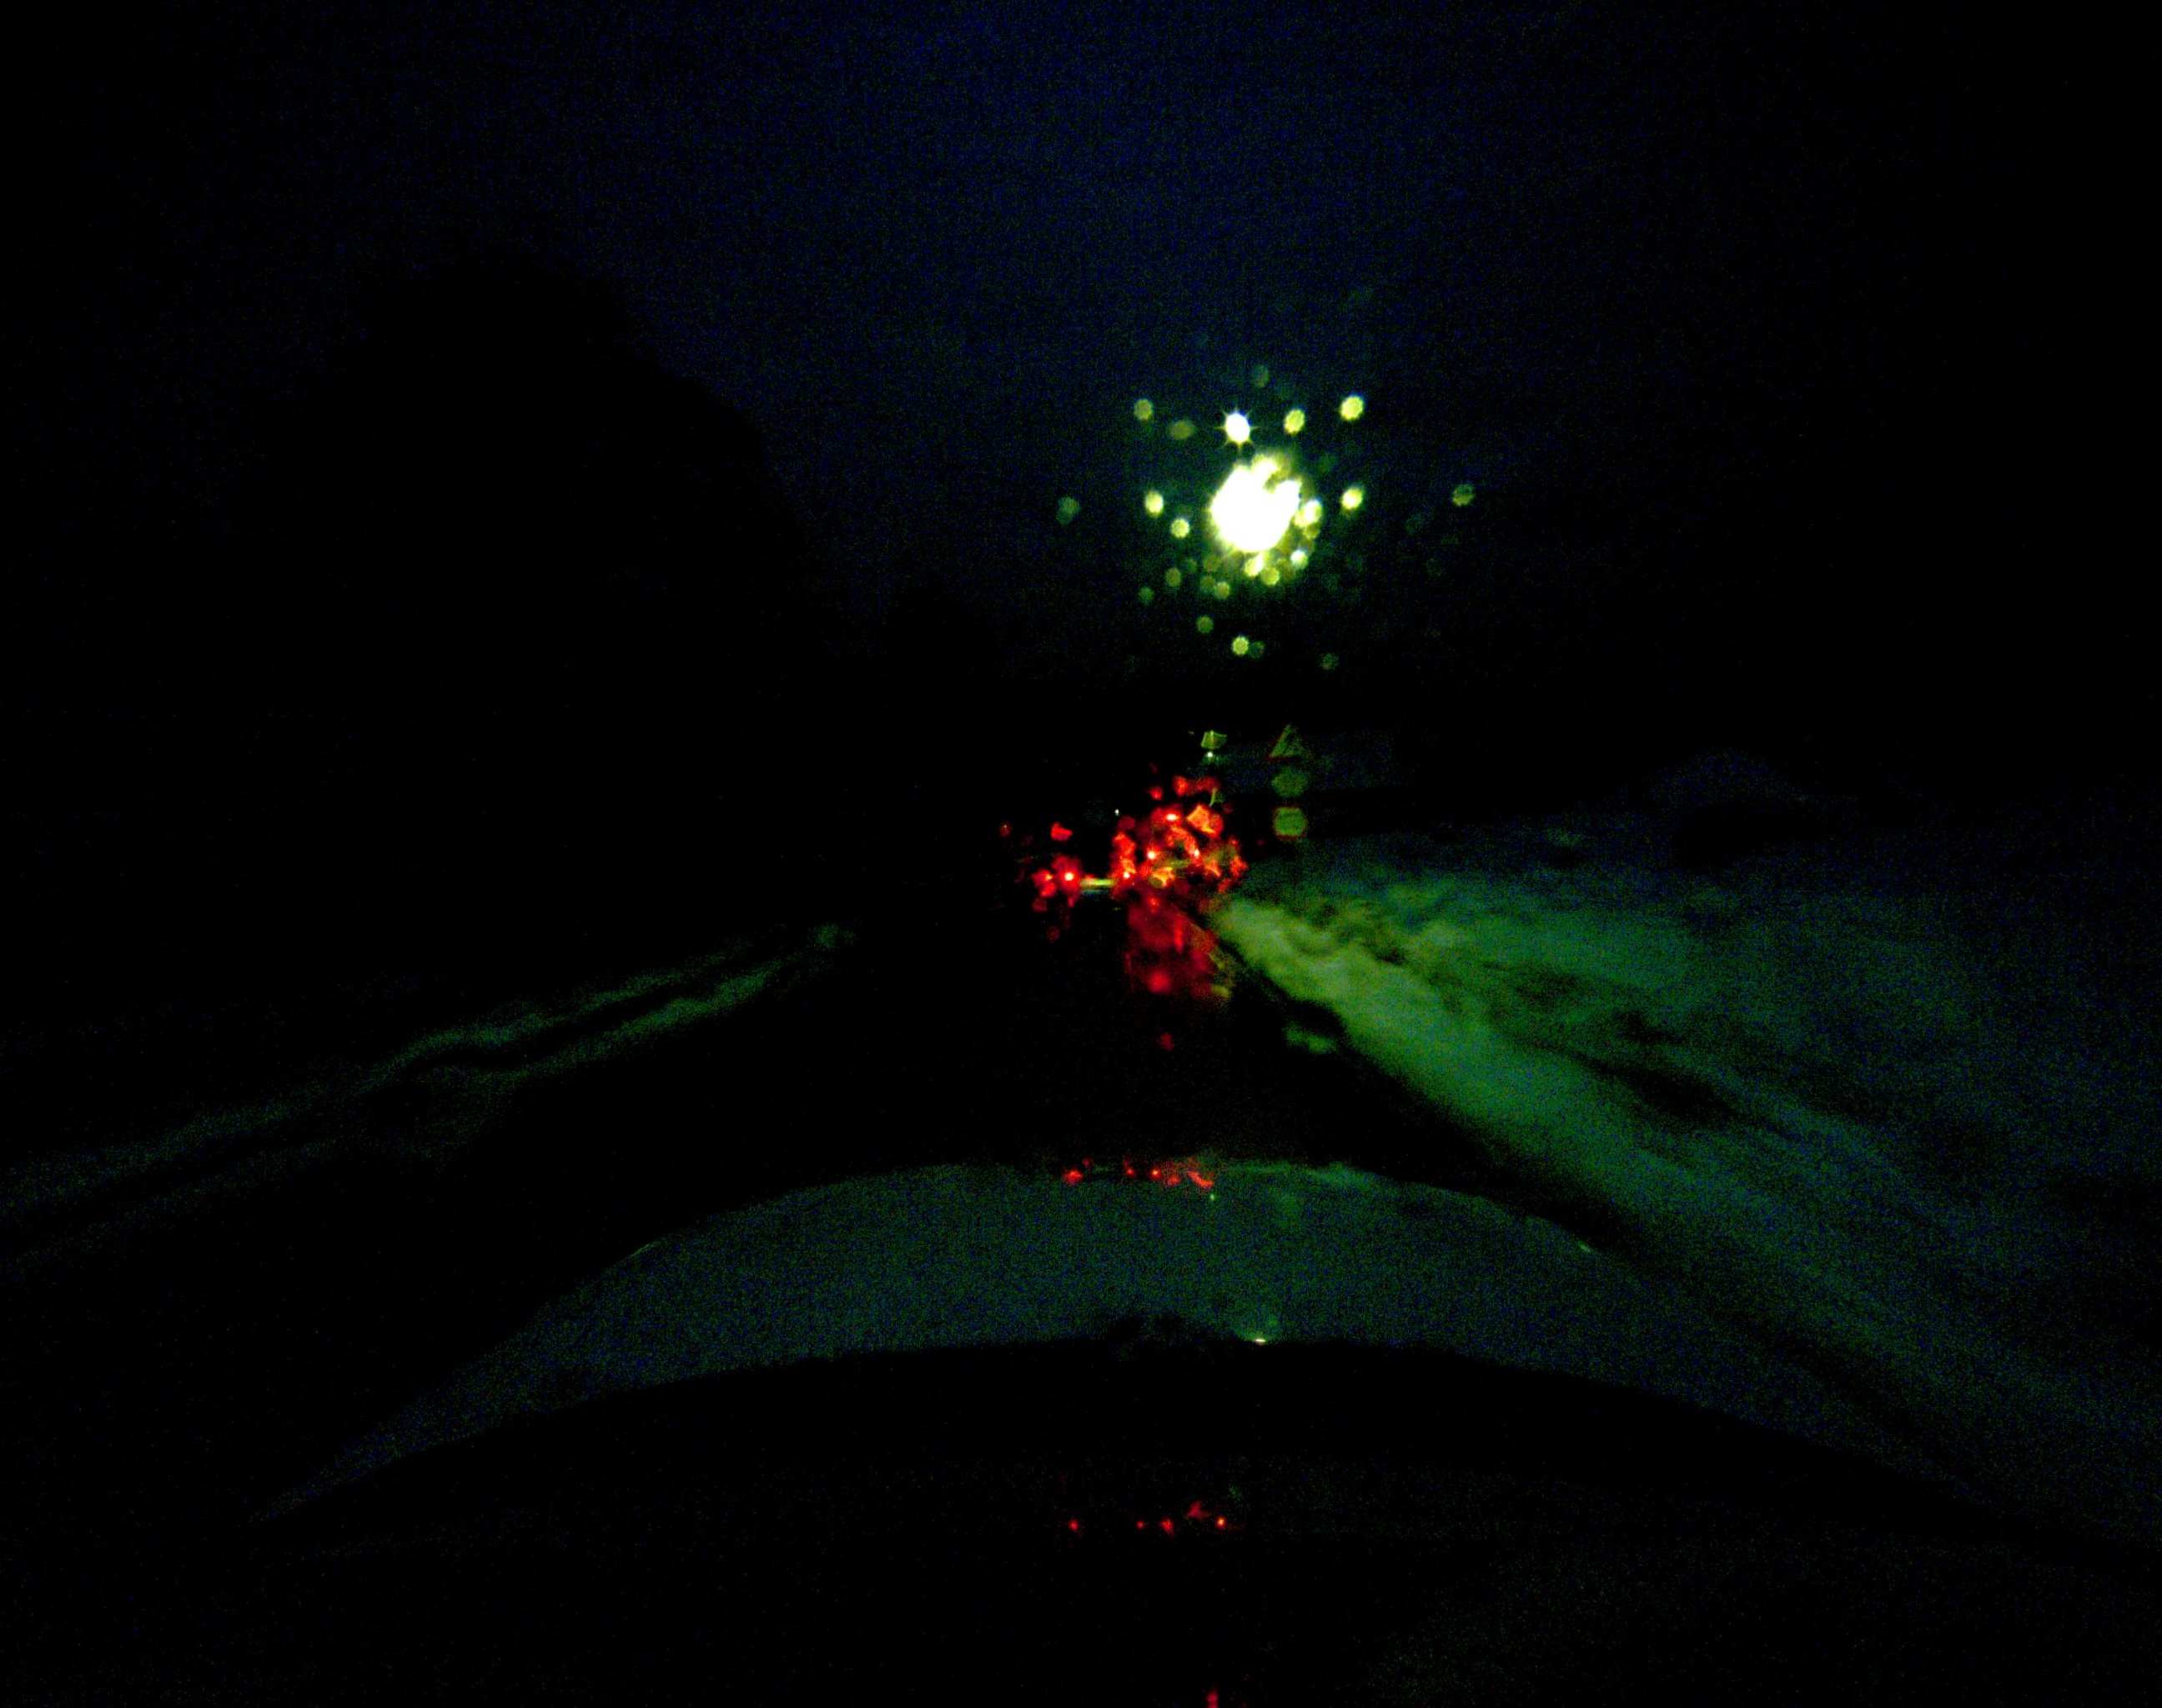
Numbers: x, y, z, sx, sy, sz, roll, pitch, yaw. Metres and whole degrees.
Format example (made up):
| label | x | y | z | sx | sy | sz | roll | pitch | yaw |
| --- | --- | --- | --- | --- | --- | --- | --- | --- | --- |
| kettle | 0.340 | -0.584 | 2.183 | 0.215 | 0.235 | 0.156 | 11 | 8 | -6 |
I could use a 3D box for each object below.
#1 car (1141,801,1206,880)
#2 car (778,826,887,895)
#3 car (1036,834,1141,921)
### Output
| label | x | y | z | sx | sy | sz | roll | pitch | yaw |
| --- | --- | --- | --- | --- | --- | --- | --- | --- | --- |
| car | 3.919 | -0.509 | 34.881 | 2.423 | 3.019 | 5.332 | -2 | -1 | 5 |
| car | -10.135 | 0.212 | 33.905 | 2.461 | 2.571 | 6.229 | -2 | 1 | 1 |
| car | 0.200 | 0.526 | 20.455 | 2.266 | 1.840 | 5.007 | -2 | 0 | 1 |
